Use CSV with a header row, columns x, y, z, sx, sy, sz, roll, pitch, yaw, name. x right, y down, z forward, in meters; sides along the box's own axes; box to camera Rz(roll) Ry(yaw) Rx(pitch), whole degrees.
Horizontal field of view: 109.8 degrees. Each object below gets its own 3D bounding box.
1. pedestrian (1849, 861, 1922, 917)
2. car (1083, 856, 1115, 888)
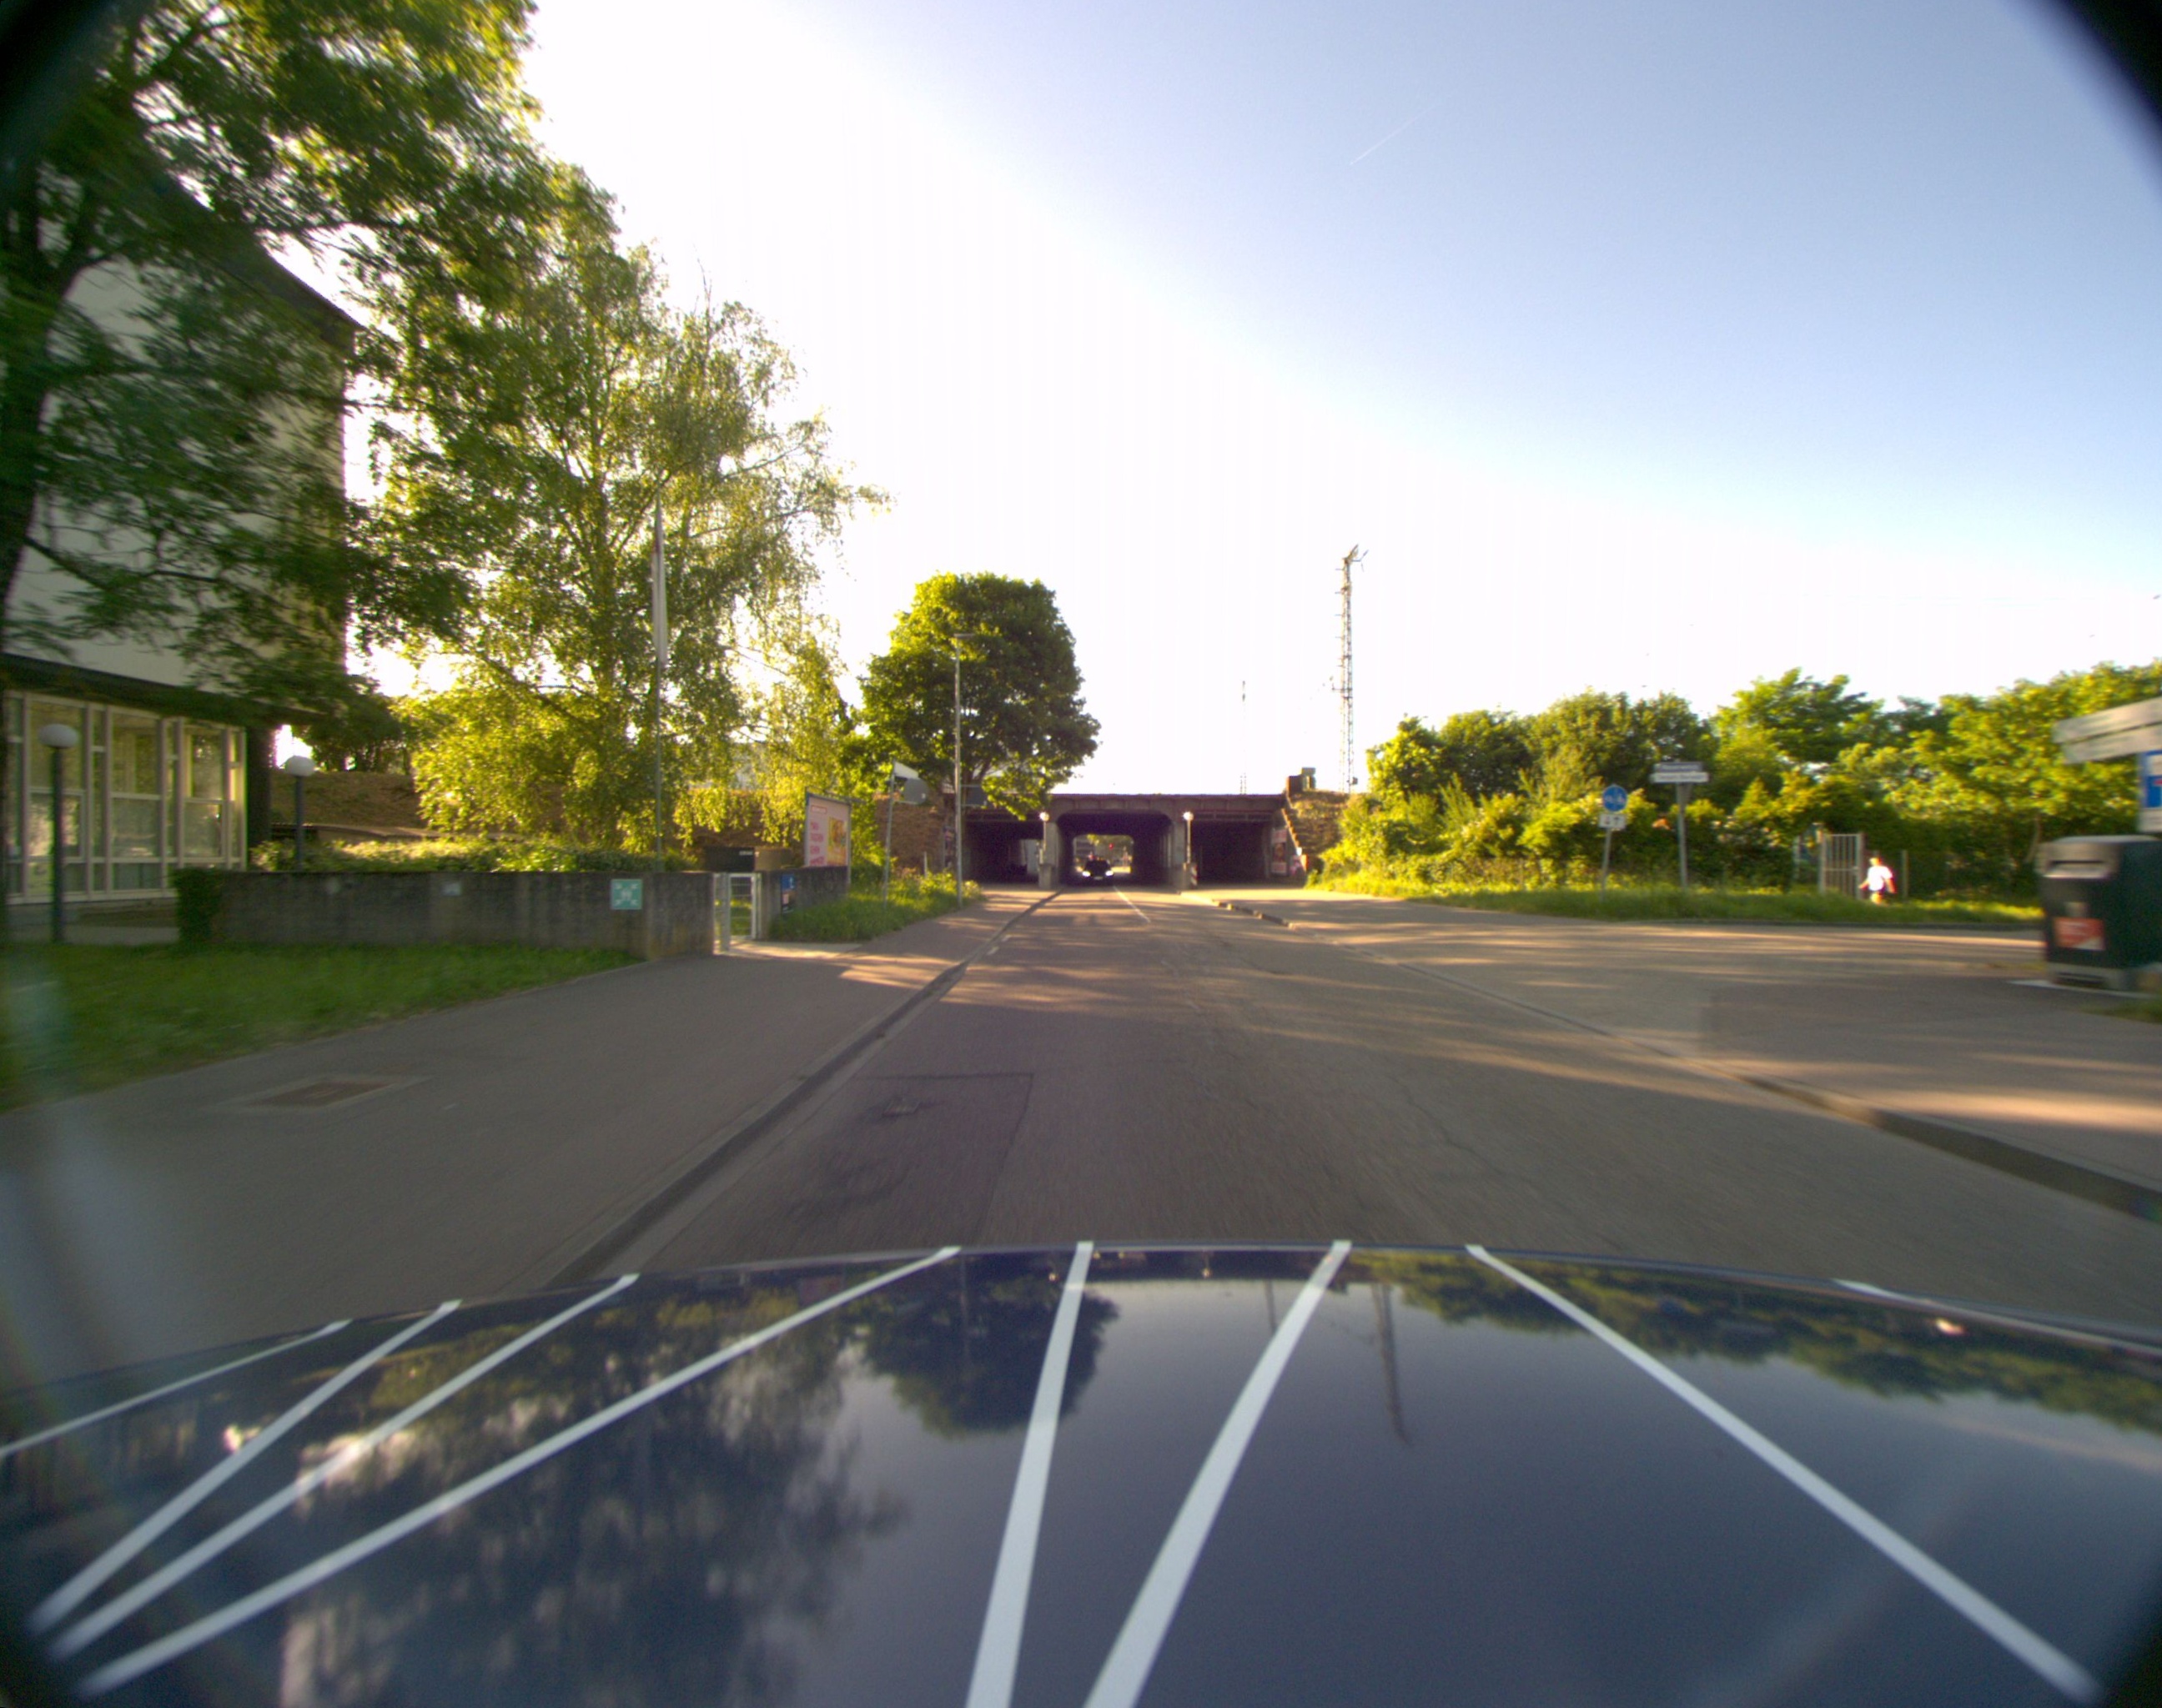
x,y,z,sx,sy,sz,roll,pitch,yaw,name
21.104,0.899,19.953,1.021,1.396,0.813,1,2,-8,pedestrian
1.195,1.139,48.933,1.940,1.922,4.525,1,0,2,car
